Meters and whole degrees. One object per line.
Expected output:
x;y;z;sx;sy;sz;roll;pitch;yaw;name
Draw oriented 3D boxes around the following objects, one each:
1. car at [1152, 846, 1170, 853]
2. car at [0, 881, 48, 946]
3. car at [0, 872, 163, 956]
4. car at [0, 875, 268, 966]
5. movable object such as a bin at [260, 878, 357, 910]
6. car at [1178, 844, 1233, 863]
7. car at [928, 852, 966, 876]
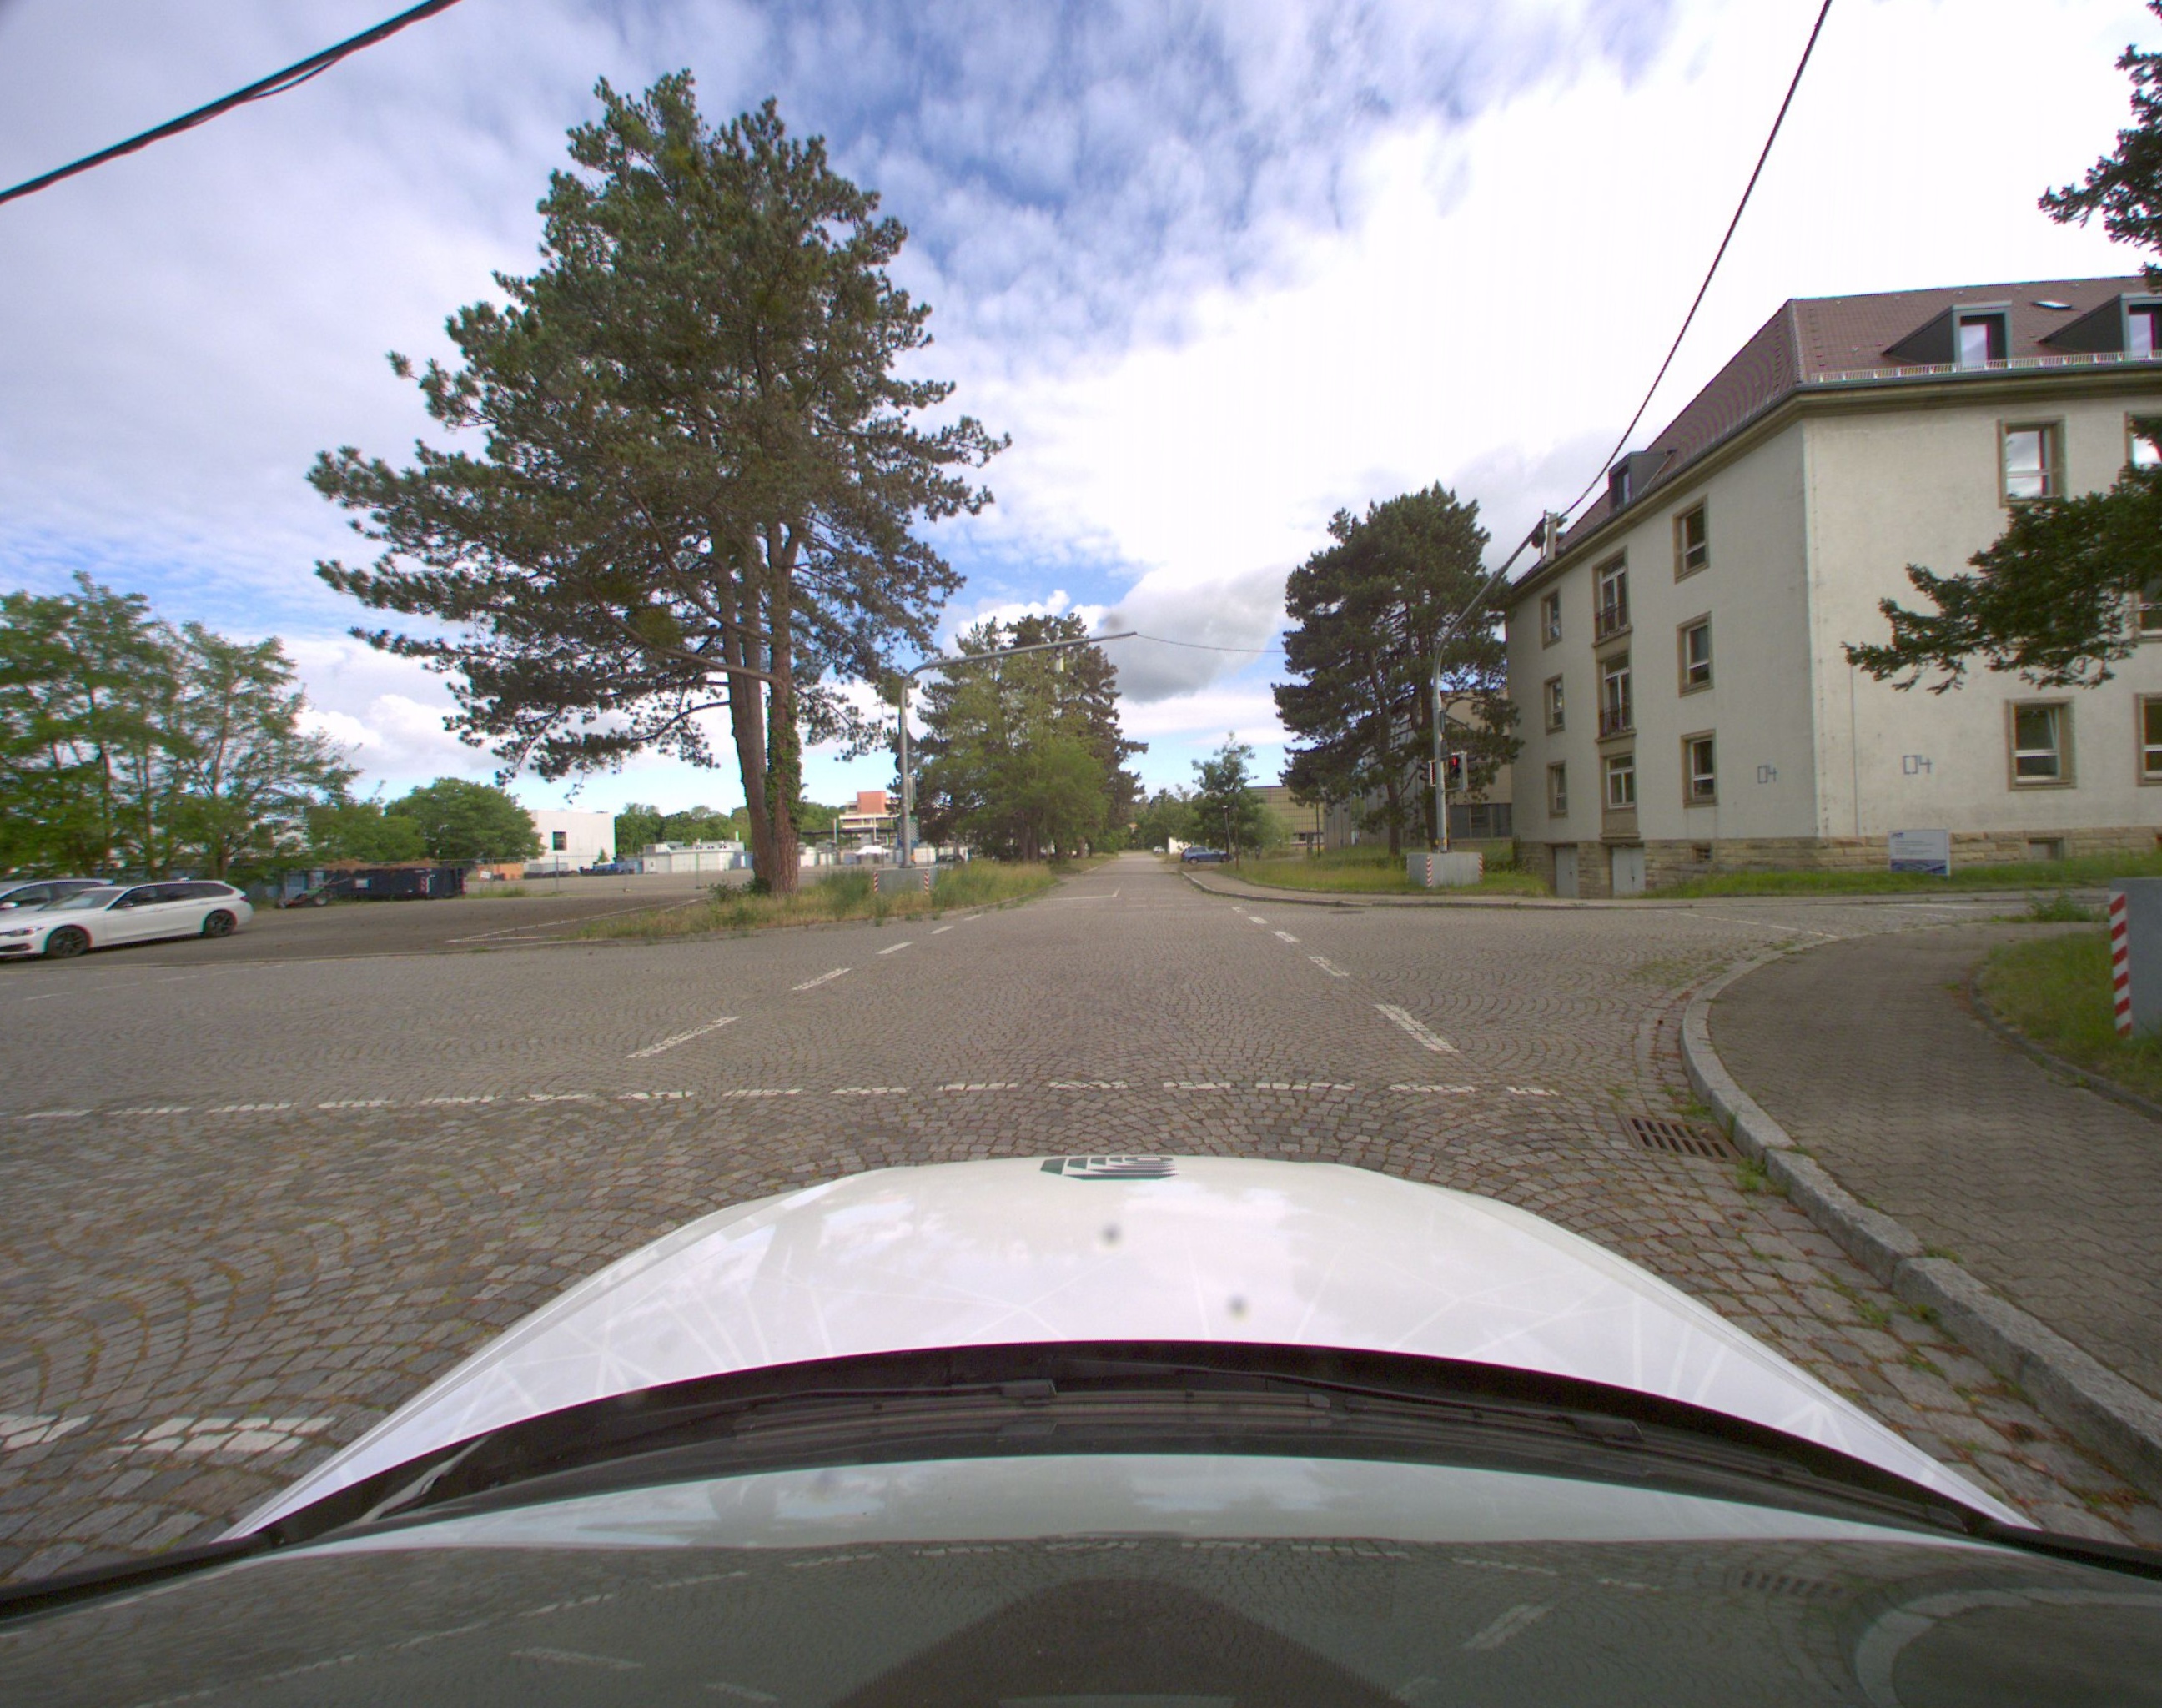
18.218;-1.060;185.754;3.976;1.398;1.999;-2;0;-2;car
-26.923;1.568;18.259;1.848;1.501;4.328;-2;3;1;car
-24.159;1.398;18.378;1.815;1.584;4.328;-2;3;1;car
-21.667;1.393;18.323;1.803;1.441;4.743;-2;2;1;car
-29.653;1.511;31.340;1.174;1.048;2.658;-2;0;-1;movable object such as a bin
10.482;-0.047;68.799;4.327;1.422;2.001;-2;0;2;car
-9.015;0.638;55.084;1.606;1.487;4.005;-2;0;4;car
